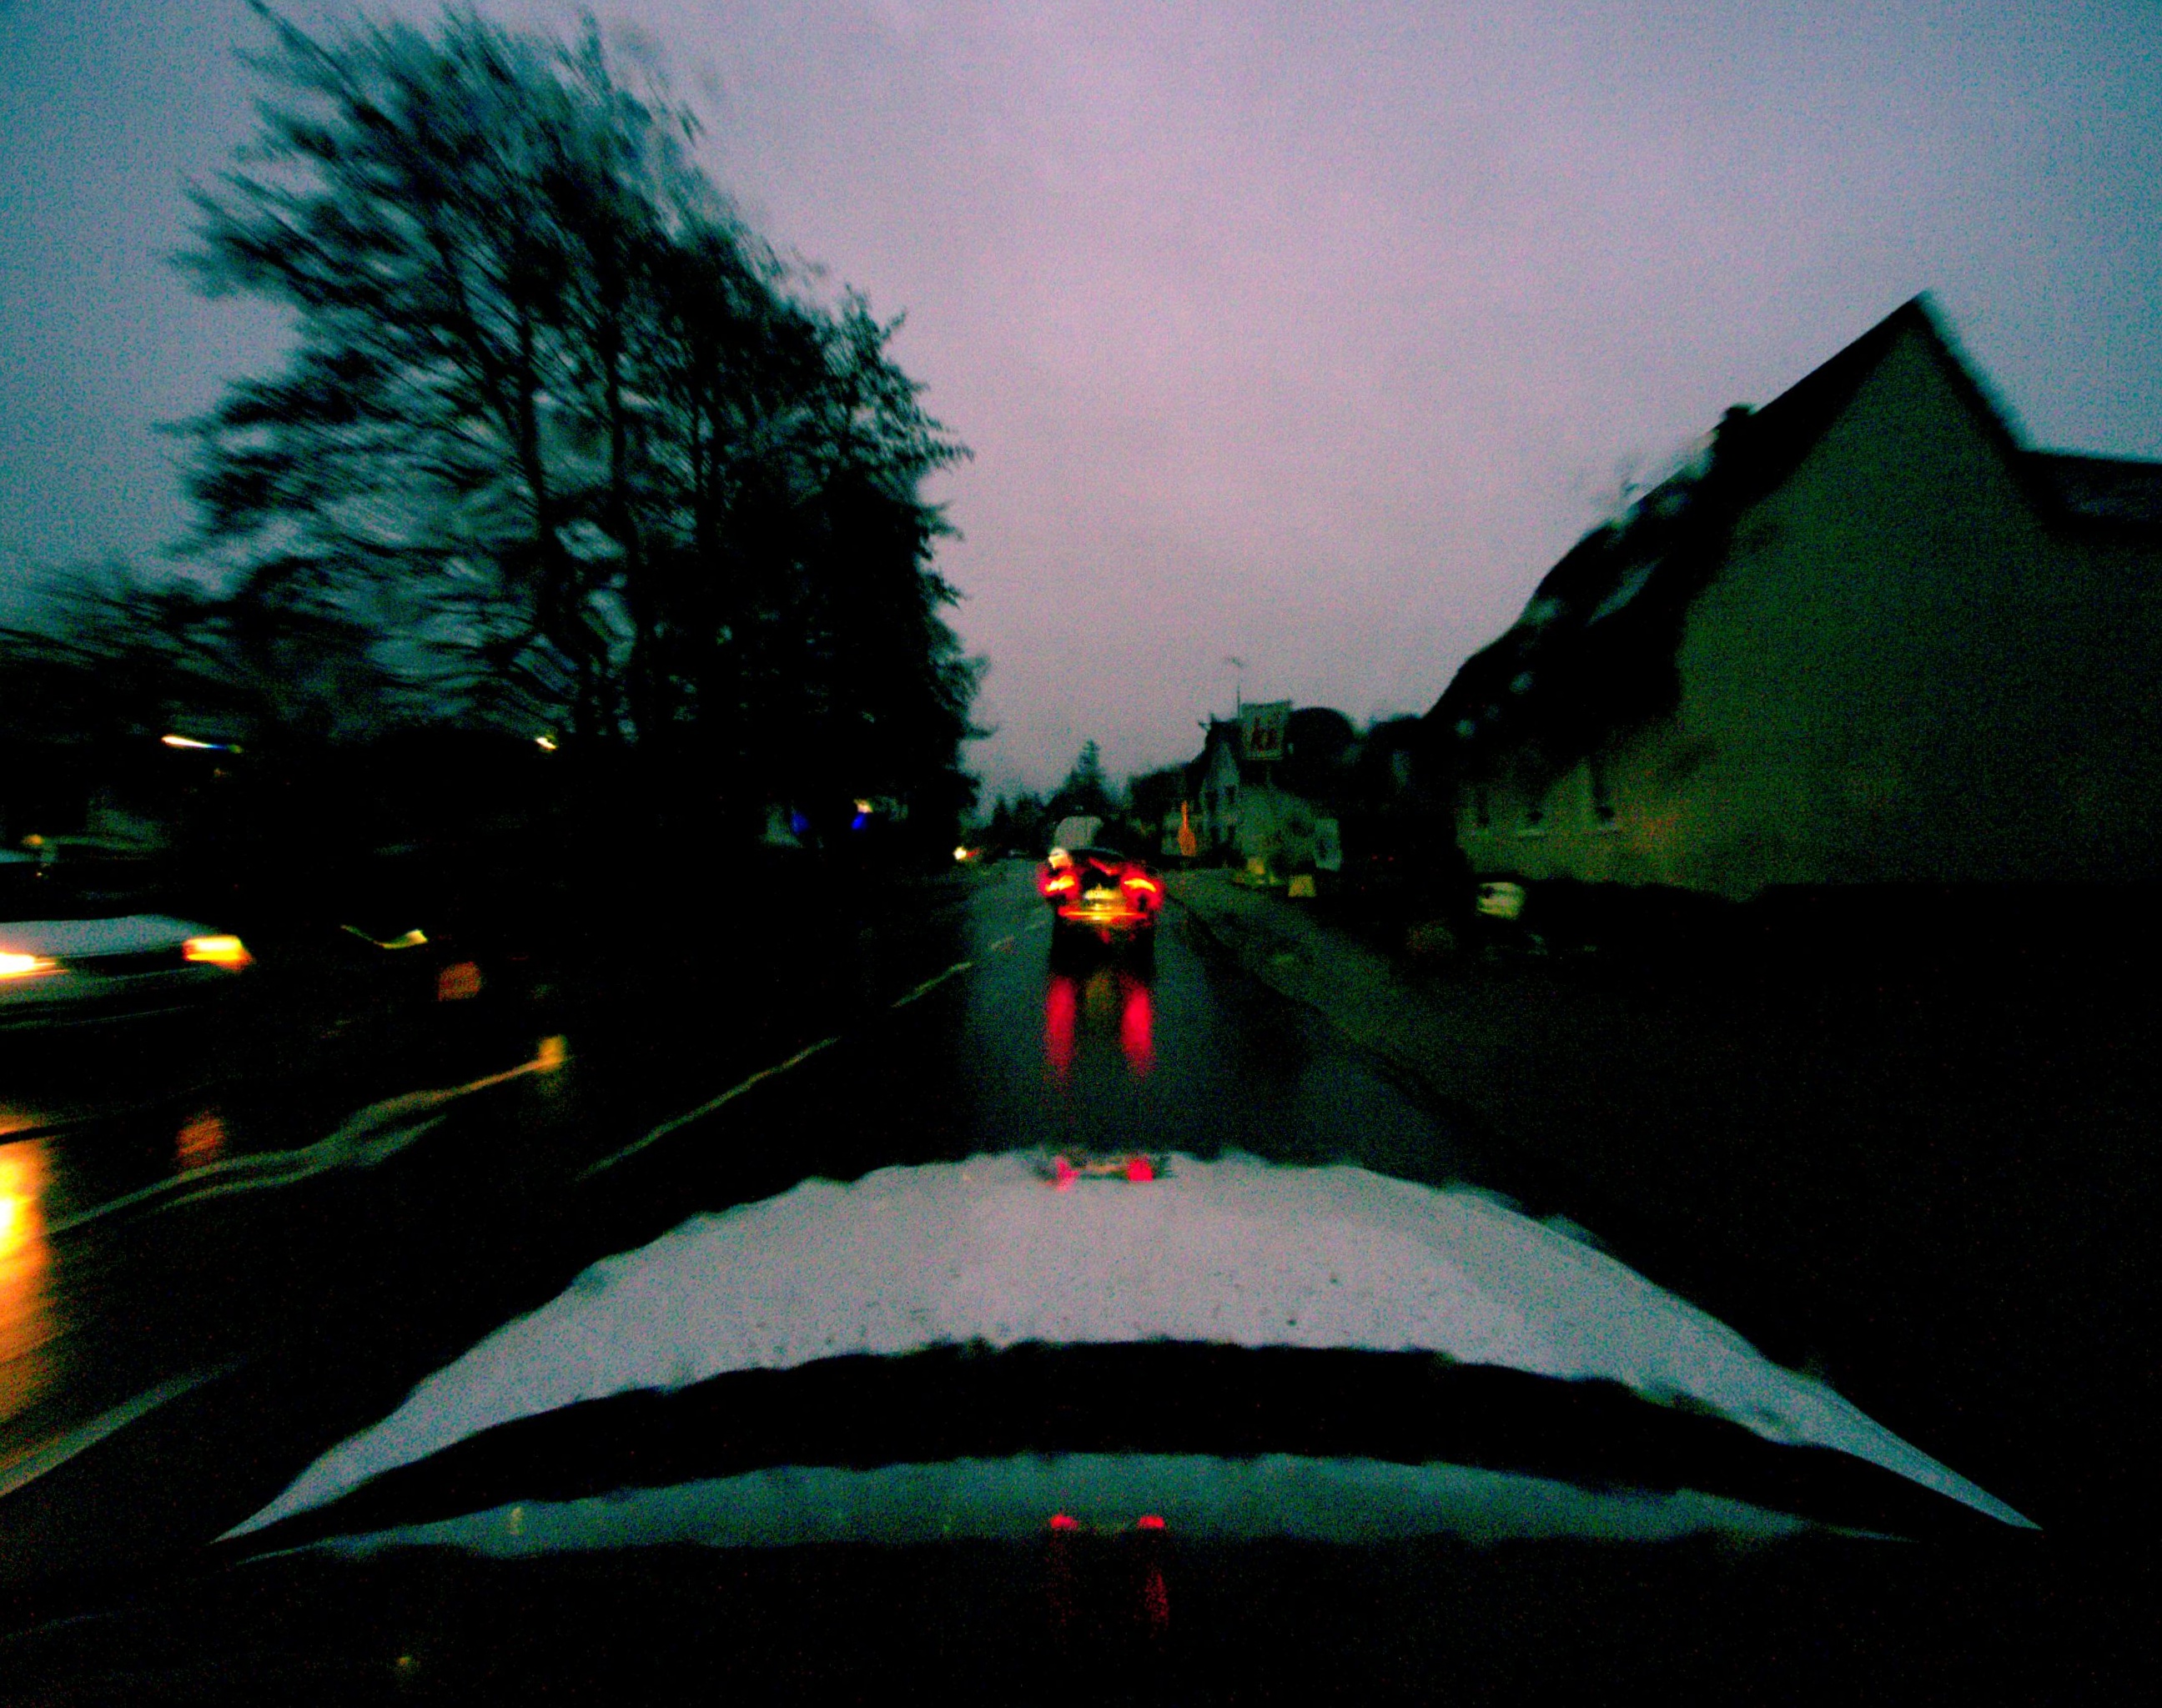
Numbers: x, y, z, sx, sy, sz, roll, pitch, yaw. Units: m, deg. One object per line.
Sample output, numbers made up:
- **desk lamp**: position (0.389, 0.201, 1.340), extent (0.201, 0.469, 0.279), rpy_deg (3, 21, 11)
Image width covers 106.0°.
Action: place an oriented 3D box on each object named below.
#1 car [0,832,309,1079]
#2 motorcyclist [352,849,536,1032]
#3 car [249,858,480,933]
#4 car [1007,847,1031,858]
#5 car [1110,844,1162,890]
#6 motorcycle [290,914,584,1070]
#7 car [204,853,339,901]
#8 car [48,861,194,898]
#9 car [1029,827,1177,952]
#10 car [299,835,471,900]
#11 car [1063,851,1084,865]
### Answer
- **car**: position (-9.507, 0.677, 6.854), extent (4.209, 1.699, 1.901), rpy_deg (2, 0, 3)
- **motorcyclist**: position (-5.528, 0.708, 7.127), extent (0.862, 1.485, 0.909), rpy_deg (0, 0, 2)
- **car**: position (-20.821, 1.194, 23.903), extent (4.643, 1.976, 2.123), rpy_deg (1, 2, -8)
- **car**: position (-11.541, -0.234, 151.802), extent (4.247, 2.013, 1.804), rpy_deg (-1, 0, -11)
- **car**: position (2.037, 0.454, 31.268), extent (1.850, 1.647, 4.002), rpy_deg (0, 1, 2)
- **motorcycle**: position (-5.531, 1.121, 7.228), extent (0.862, 1.024, 2.111), rpy_deg (0, 0, 2)
- **car**: position (-32.265, 0.852, 32.615), extent (1.689, 1.639, 3.709), rpy_deg (2, 2, -1)
- **car**: position (-36.608, 0.945, 31.179), extent (1.556, 1.130, 3.392), rpy_deg (2, 2, -1)
- **car**: position (0.441, 0.564, 15.363), extent (2.300, 1.938, 5.020), rpy_deg (-1, 0, 2)
- **car**: position (-27.205, 0.418, 32.146), extent (2.274, 2.278, 5.268), rpy_deg (1, 2, -1)
- **car**: position (-0.816, 0.395, 84.380), extent (1.840, 1.331, 3.930), rpy_deg (-1, 0, -6)
